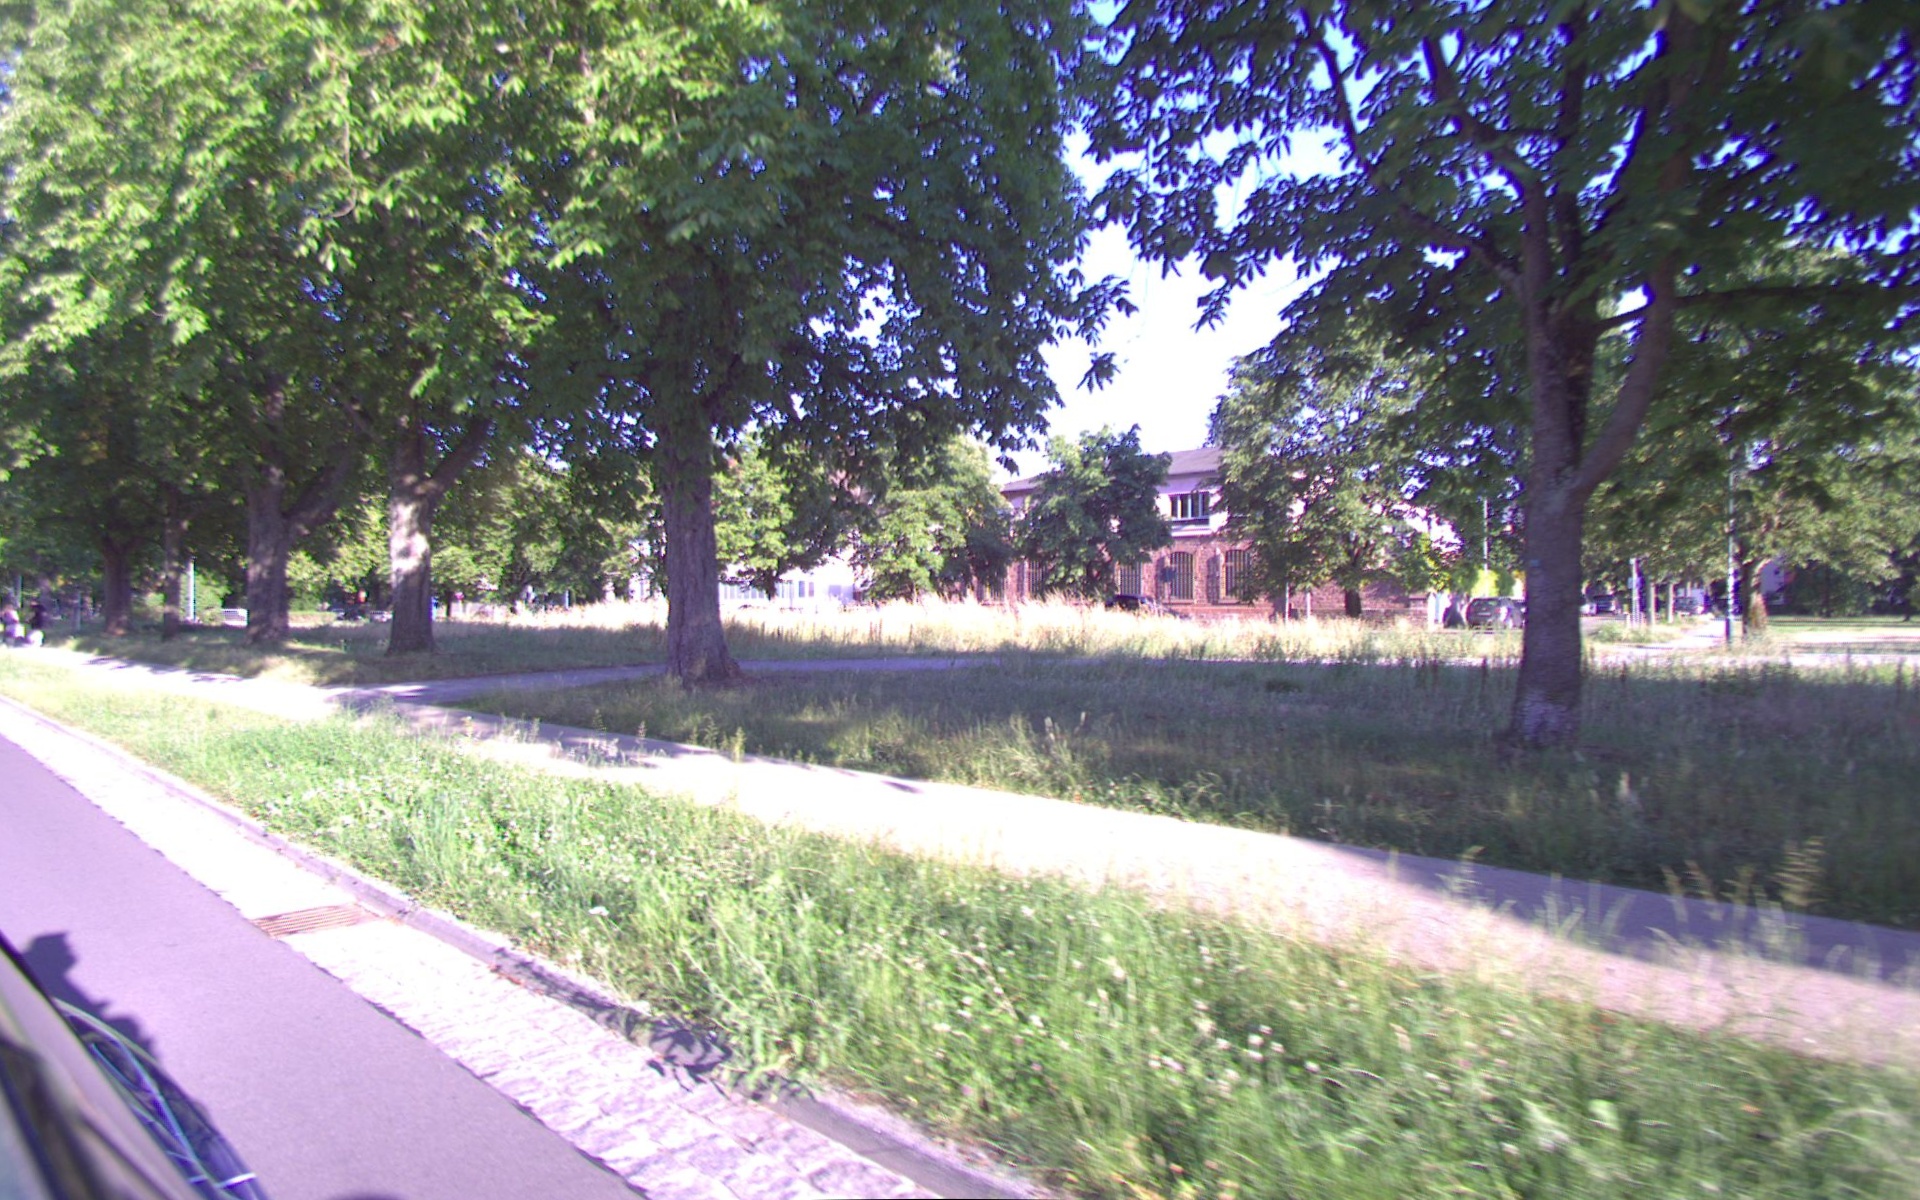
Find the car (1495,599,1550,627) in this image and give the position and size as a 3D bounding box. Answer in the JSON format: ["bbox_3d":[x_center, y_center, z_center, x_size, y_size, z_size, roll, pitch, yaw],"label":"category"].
[{"bbox_3d":[27.735,0.604,49.849,1.586,1.290,3.589,0,1,42],"label":"car"}]

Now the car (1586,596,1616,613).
[{"bbox_3d":[50.533,0.355,79.734,1.585,1.290,3.592,0,1,39],"label":"car"}]

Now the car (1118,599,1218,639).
[{"bbox_3d":[8.268,0.737,40.398,3.639,1.492,1.564,0,1,42],"label":"car"}]

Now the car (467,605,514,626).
[{"bbox_3d":[-38.274,1.229,82.436,4.424,1.641,1.849,-1,0,41],"label":"car"}]

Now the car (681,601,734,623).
[{"bbox_3d":[-17.685,0.825,70.728,3.794,1.490,1.744,0,1,41],"label":"car"}]

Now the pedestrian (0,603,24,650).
[{"bbox_3d":[-33.811,0.932,35.947,0.616,1.643,0.607,-1,0,-23],"label":"pedestrian"}]

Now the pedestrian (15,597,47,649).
[{"bbox_3d":[-34.121,0.837,37.180,0.616,1.865,0.606,-1,0,-9],"label":"pedestrian"}]

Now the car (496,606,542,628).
[{"bbox_3d":[-34.414,1.315,78.970,3.998,1.641,1.744,-1,0,41],"label":"car"}]

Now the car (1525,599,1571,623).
[{"bbox_3d":[34.114,0.620,58.703,1.586,1.290,3.589,0,1,42],"label":"car"}]

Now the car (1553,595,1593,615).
[{"bbox_3d":[40.871,0.306,67.445,1.586,1.290,3.589,0,1,42],"label":"car"}]

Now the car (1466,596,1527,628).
[{"bbox_3d":[23.835,0.504,44.919,1.586,1.290,3.589,0,1,42],"label":"car"}]
